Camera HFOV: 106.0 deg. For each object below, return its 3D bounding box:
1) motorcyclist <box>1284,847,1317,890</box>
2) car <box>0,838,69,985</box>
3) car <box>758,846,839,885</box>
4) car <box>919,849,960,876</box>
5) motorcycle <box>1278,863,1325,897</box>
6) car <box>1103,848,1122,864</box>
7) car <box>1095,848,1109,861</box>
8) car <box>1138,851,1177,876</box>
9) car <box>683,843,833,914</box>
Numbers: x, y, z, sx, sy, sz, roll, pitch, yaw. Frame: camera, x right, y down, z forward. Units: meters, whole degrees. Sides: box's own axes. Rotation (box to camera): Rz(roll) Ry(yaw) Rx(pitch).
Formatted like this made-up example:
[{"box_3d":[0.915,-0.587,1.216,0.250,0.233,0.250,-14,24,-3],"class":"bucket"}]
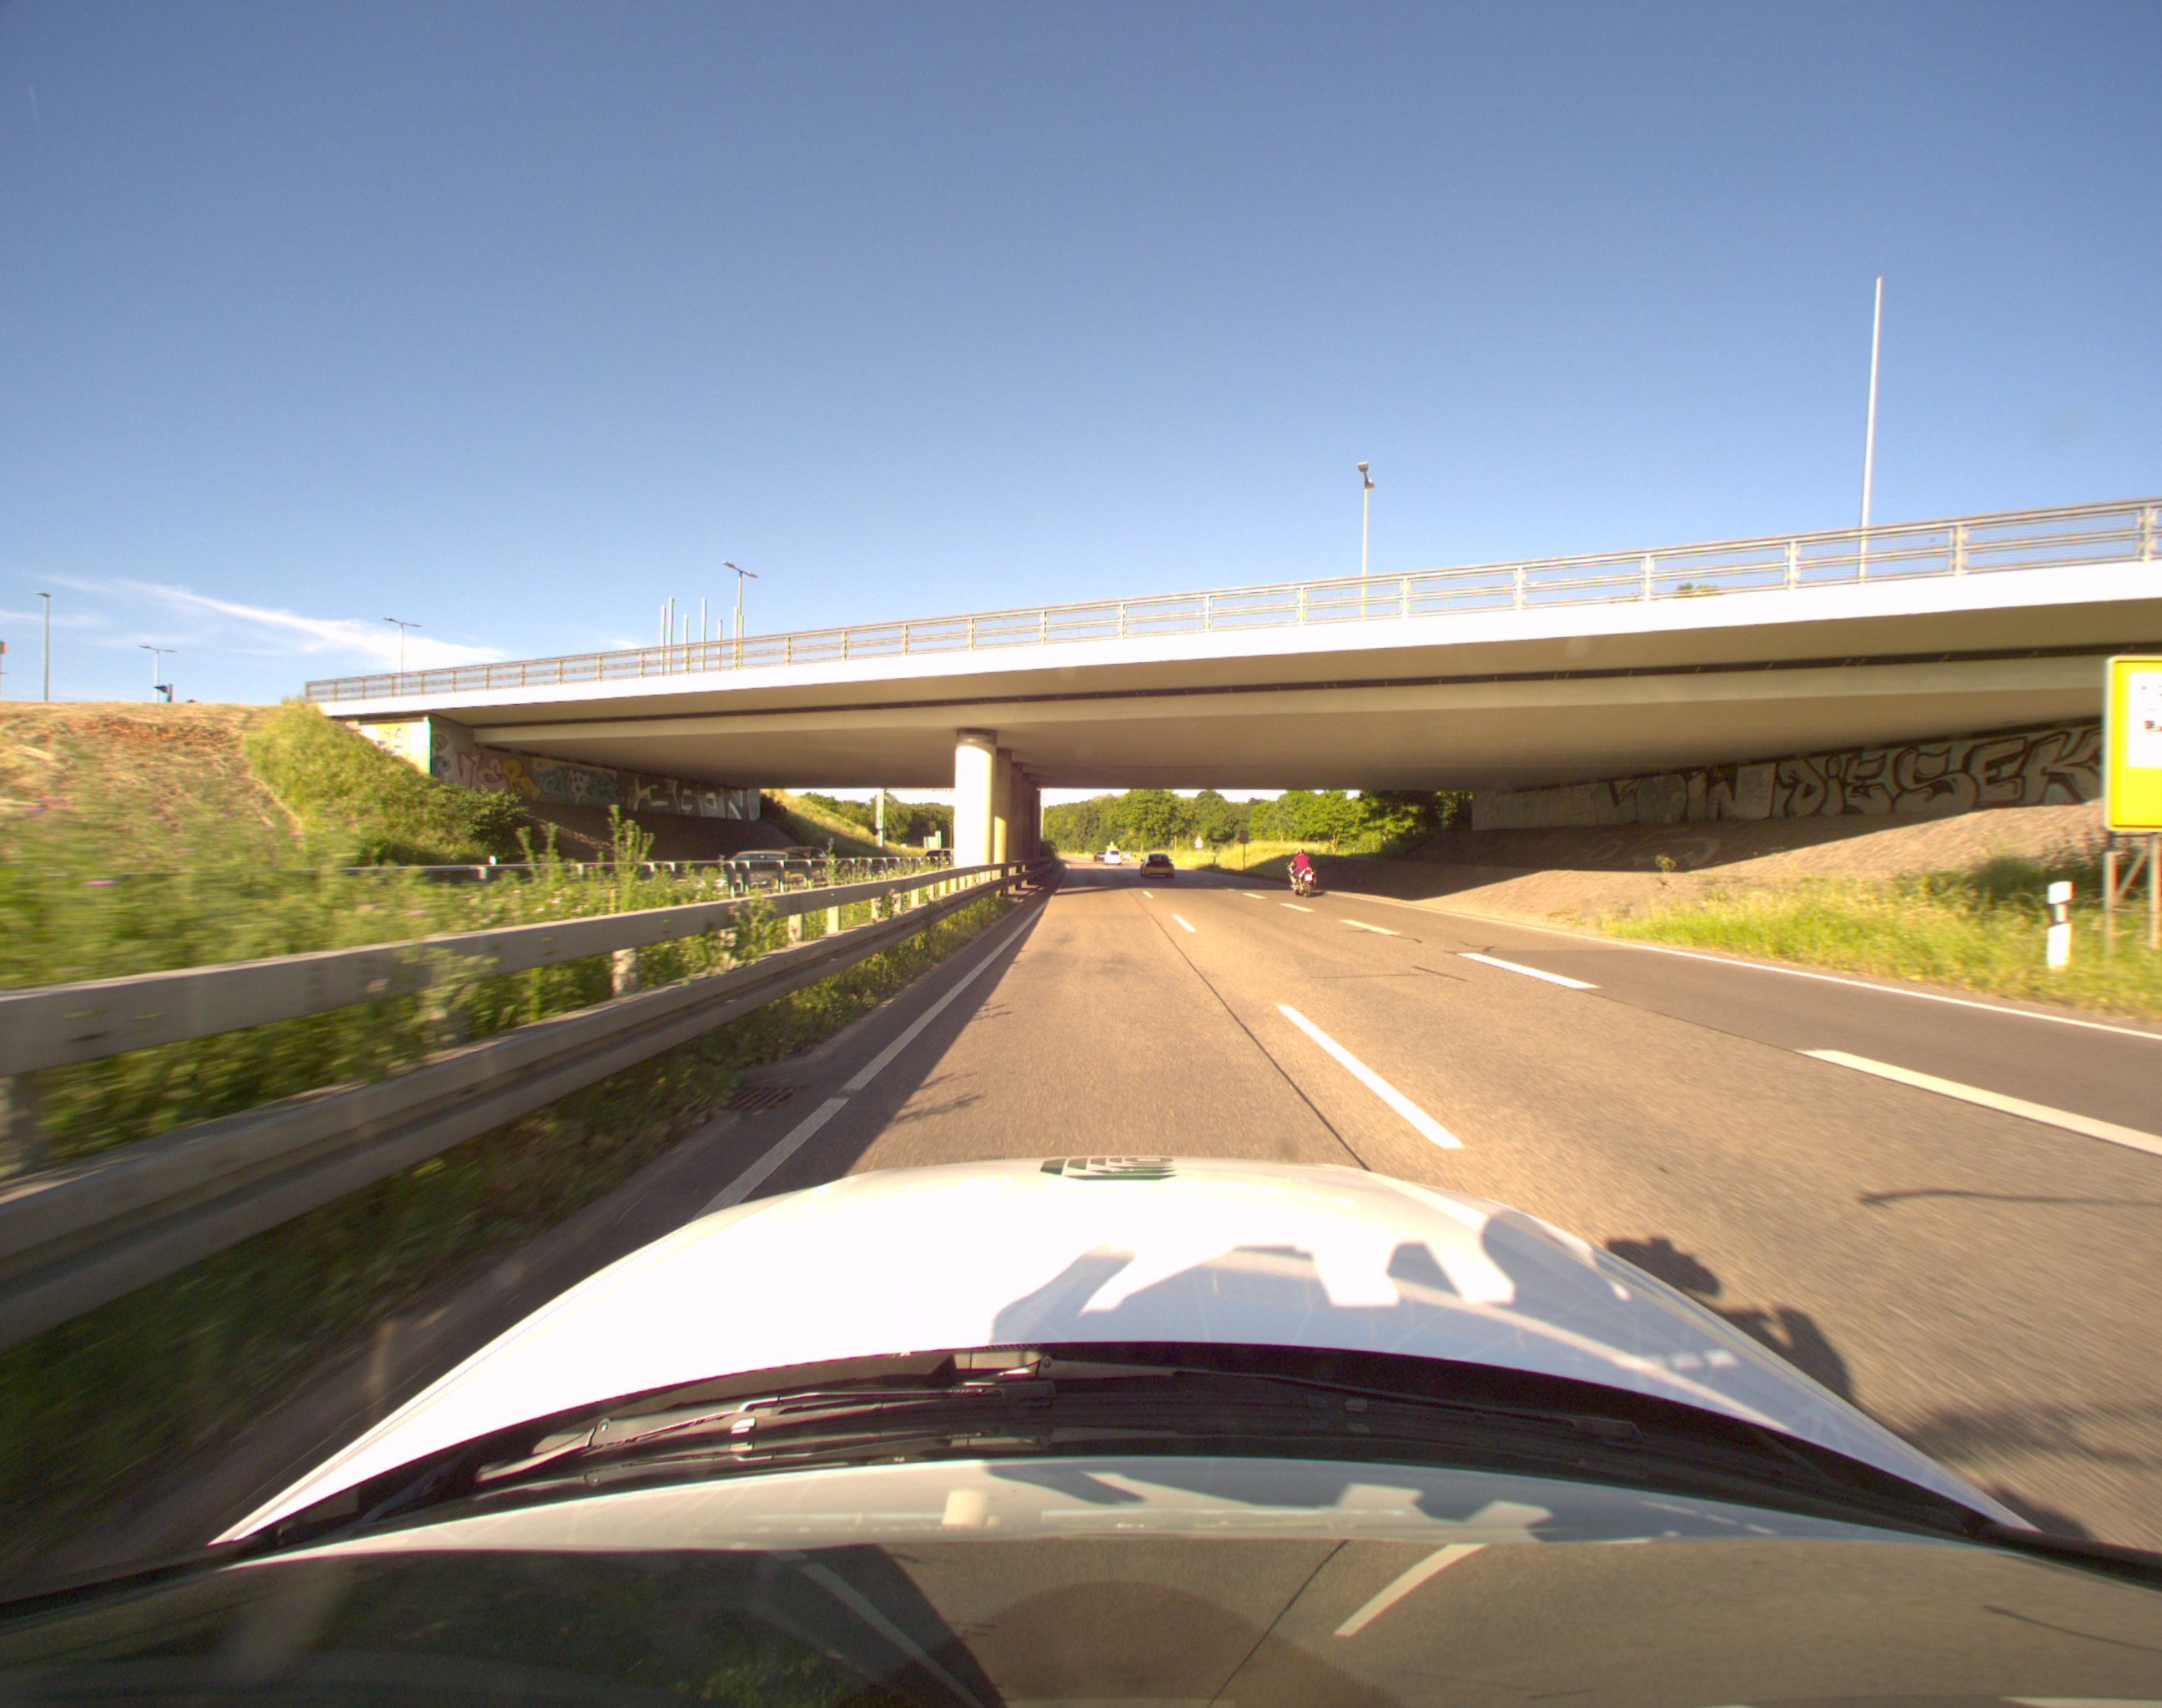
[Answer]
[{"box_3d":[7.516,0.480,27.882,0.814,1.447,1.093,0,0,-1],"class":"motorcyclist"},{"box_3d":[-11.526,0.552,6.469,1.755,1.443,4.111,1,0,1],"class":"car"},{"box_3d":[-11.700,0.432,33.993,1.742,1.505,4.458,0,0,1],"class":"car"},{"box_3d":[-8.361,0.466,48.434,1.743,1.505,4.223,0,0,-1],"class":"car"},{"box_3d":[7.516,0.866,27.916,0.814,1.069,2.834,0,0,-1],"class":"motorcycle"},{"box_3d":[3.593,0.240,93.025,1.892,1.767,3.997,-1,0,-2],"class":"car"},{"box_3d":[3.019,0.094,118.125,1.892,1.767,3.997,-1,0,-2],"class":"car"},{"box_3d":[4.623,0.559,49.818,1.892,1.471,3.997,-1,0,-2],"class":"car"},{"box_3d":[-7.382,0.508,19.088,1.754,1.443,4.111,1,0,1],"class":"car"}]
